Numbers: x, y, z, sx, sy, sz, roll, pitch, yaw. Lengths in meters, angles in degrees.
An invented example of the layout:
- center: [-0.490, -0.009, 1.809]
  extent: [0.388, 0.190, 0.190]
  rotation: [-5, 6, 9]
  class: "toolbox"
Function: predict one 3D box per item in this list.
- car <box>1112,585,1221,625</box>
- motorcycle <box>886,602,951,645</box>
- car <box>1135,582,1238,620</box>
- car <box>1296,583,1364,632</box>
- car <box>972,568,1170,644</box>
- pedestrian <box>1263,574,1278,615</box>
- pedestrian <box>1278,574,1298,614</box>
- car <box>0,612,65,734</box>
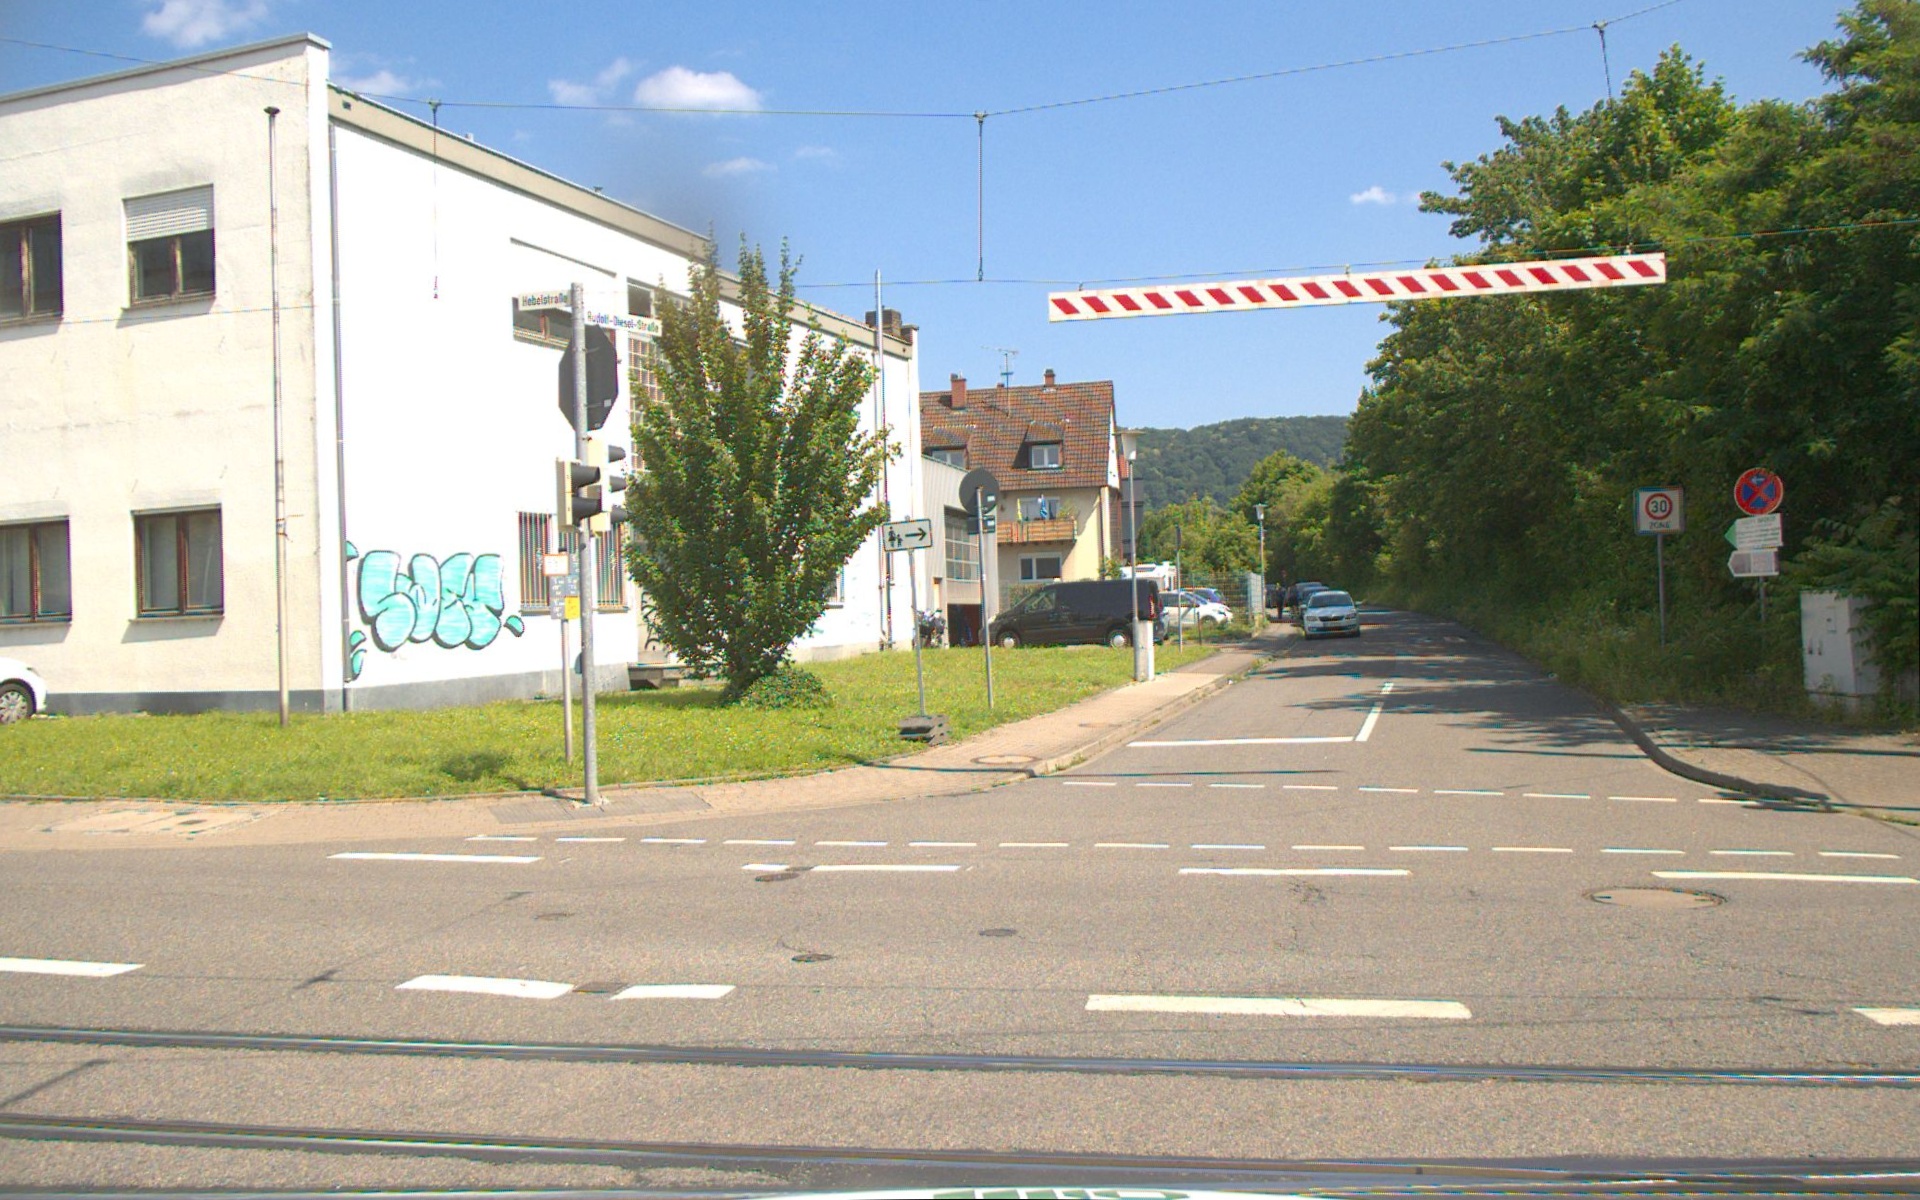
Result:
- center: [7.391, 0.201, 59.133]
  extent: [3.641, 1.396, 1.605]
  rotation: [0, -1, 16]
  class: "car"
- center: [-1.022, 0.607, 41.477]
  extent: [0.834, 1.050, 2.568]
  rotation: [0, -1, 17]
  class: "motorcycle"
- center: [8.463, 0.044, 61.683]
  extent: [3.641, 1.395, 1.605]
  rotation: [0, -1, 16]
  class: "car"
- center: [12.203, 0.215, 54.345]
  extent: [2.042, 1.536, 4.543]
  rotation: [0, 0, 14]
  class: "car"
- center: [3.081, 0.172, 45.696]
  extent: [5.136, 1.848, 2.002]
  rotation: [-3, -1, 13]
  class: "car"
- center: [13.988, -0.247, 74.528]
  extent: [0.640, 1.794, 0.804]
  rotation: [0, -2, 14]
  class: "pedestrian"
- center: [14.754, -0.252, 74.341]
  extent: [0.857, 1.794, 0.731]
  rotation: [0, -2, 14]
  class: "pedestrian"
- center: [-13.506, 1.068, 20.456]
  extent: [1.845, 1.487, 4.003]
  rotation: [-2, 3, 20]
  class: "car"
